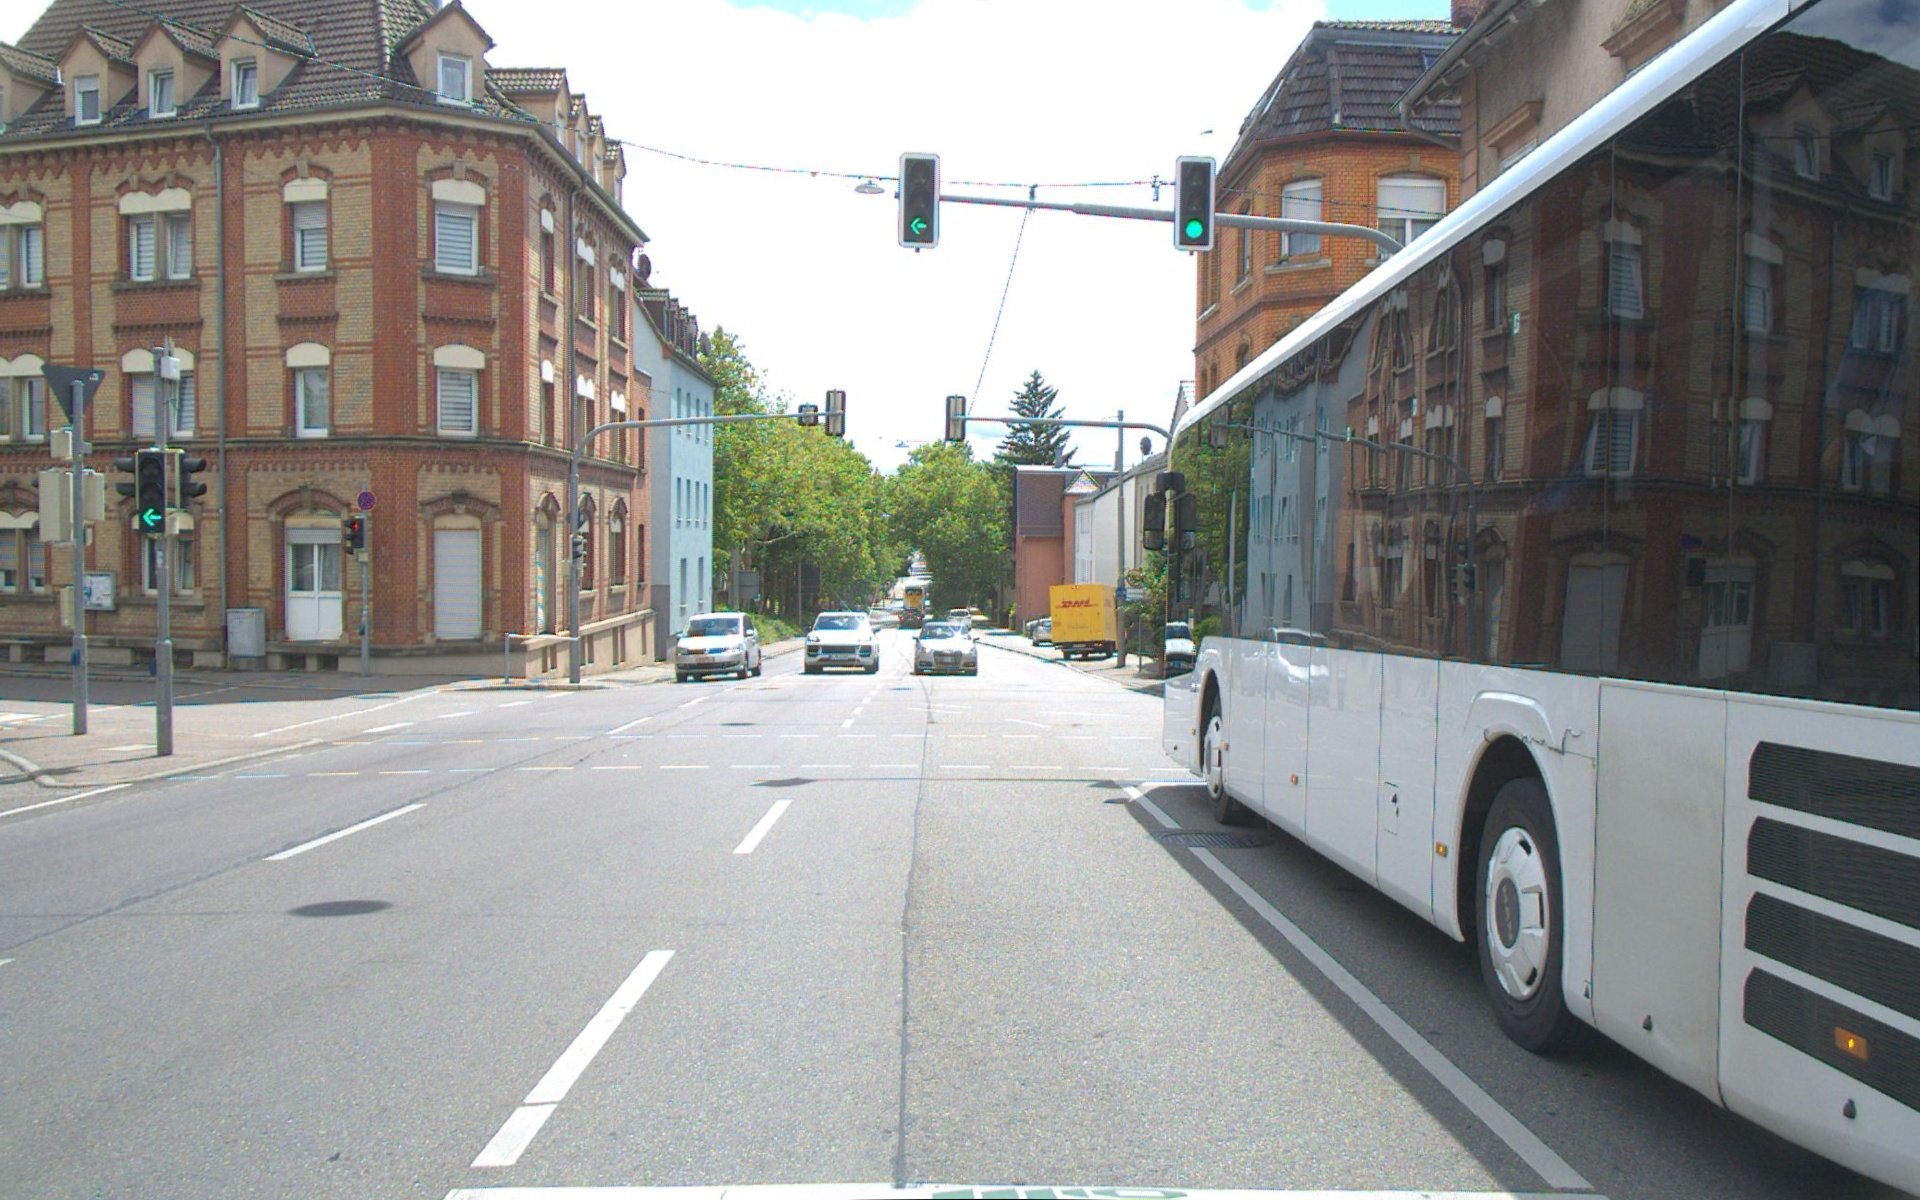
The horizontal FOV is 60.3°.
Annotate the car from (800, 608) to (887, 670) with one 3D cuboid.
[{"bbox_3d":[-3.219,1.048,46.468,2.162,1.641,4.546,-1,0,-1],"label":"car"}]

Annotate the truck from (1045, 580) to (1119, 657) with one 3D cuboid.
[{"bbox_3d":[5.071,0.778,67.831,2.487,2.964,6.577,1,-1,9],"label":"truck"}]

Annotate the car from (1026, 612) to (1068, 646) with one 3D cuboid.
[{"bbox_3d":[4.845,1.591,92.532,1.872,1.848,3.997,0,-1,-3],"label":"car"}]

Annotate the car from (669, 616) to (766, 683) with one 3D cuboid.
[{"bbox_3d":[-6.180,1.228,42.543,1.896,1.591,4.388,-1,0,-1],"label":"car"}]

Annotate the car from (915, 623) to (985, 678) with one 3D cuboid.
[{"bbox_3d":[-0.303,1.366,45.958,1.827,1.391,4.546,-1,0,-1],"label":"car"}]

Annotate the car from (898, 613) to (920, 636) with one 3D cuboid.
[{"bbox_3d":[-4.188,2.001,135.848,1.782,1.816,3.999,0,0,-1],"label":"car"}]

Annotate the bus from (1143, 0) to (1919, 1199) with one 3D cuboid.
[{"bbox_3d":[3.208,-0.187,8.847,2.845,3.572,12.484,1,-1,-1],"label":"bus"}]

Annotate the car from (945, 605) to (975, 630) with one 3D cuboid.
[{"bbox_3d":[-0.043,1.349,128.890,2.050,1.862,4.139,0,0,-4],"label":"car"}]

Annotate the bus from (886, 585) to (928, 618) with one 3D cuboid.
[{"bbox_3d":[-6.310,0.221,194.520,3.241,3.694,11.216,-1,0,-10],"label":"bus"}]
